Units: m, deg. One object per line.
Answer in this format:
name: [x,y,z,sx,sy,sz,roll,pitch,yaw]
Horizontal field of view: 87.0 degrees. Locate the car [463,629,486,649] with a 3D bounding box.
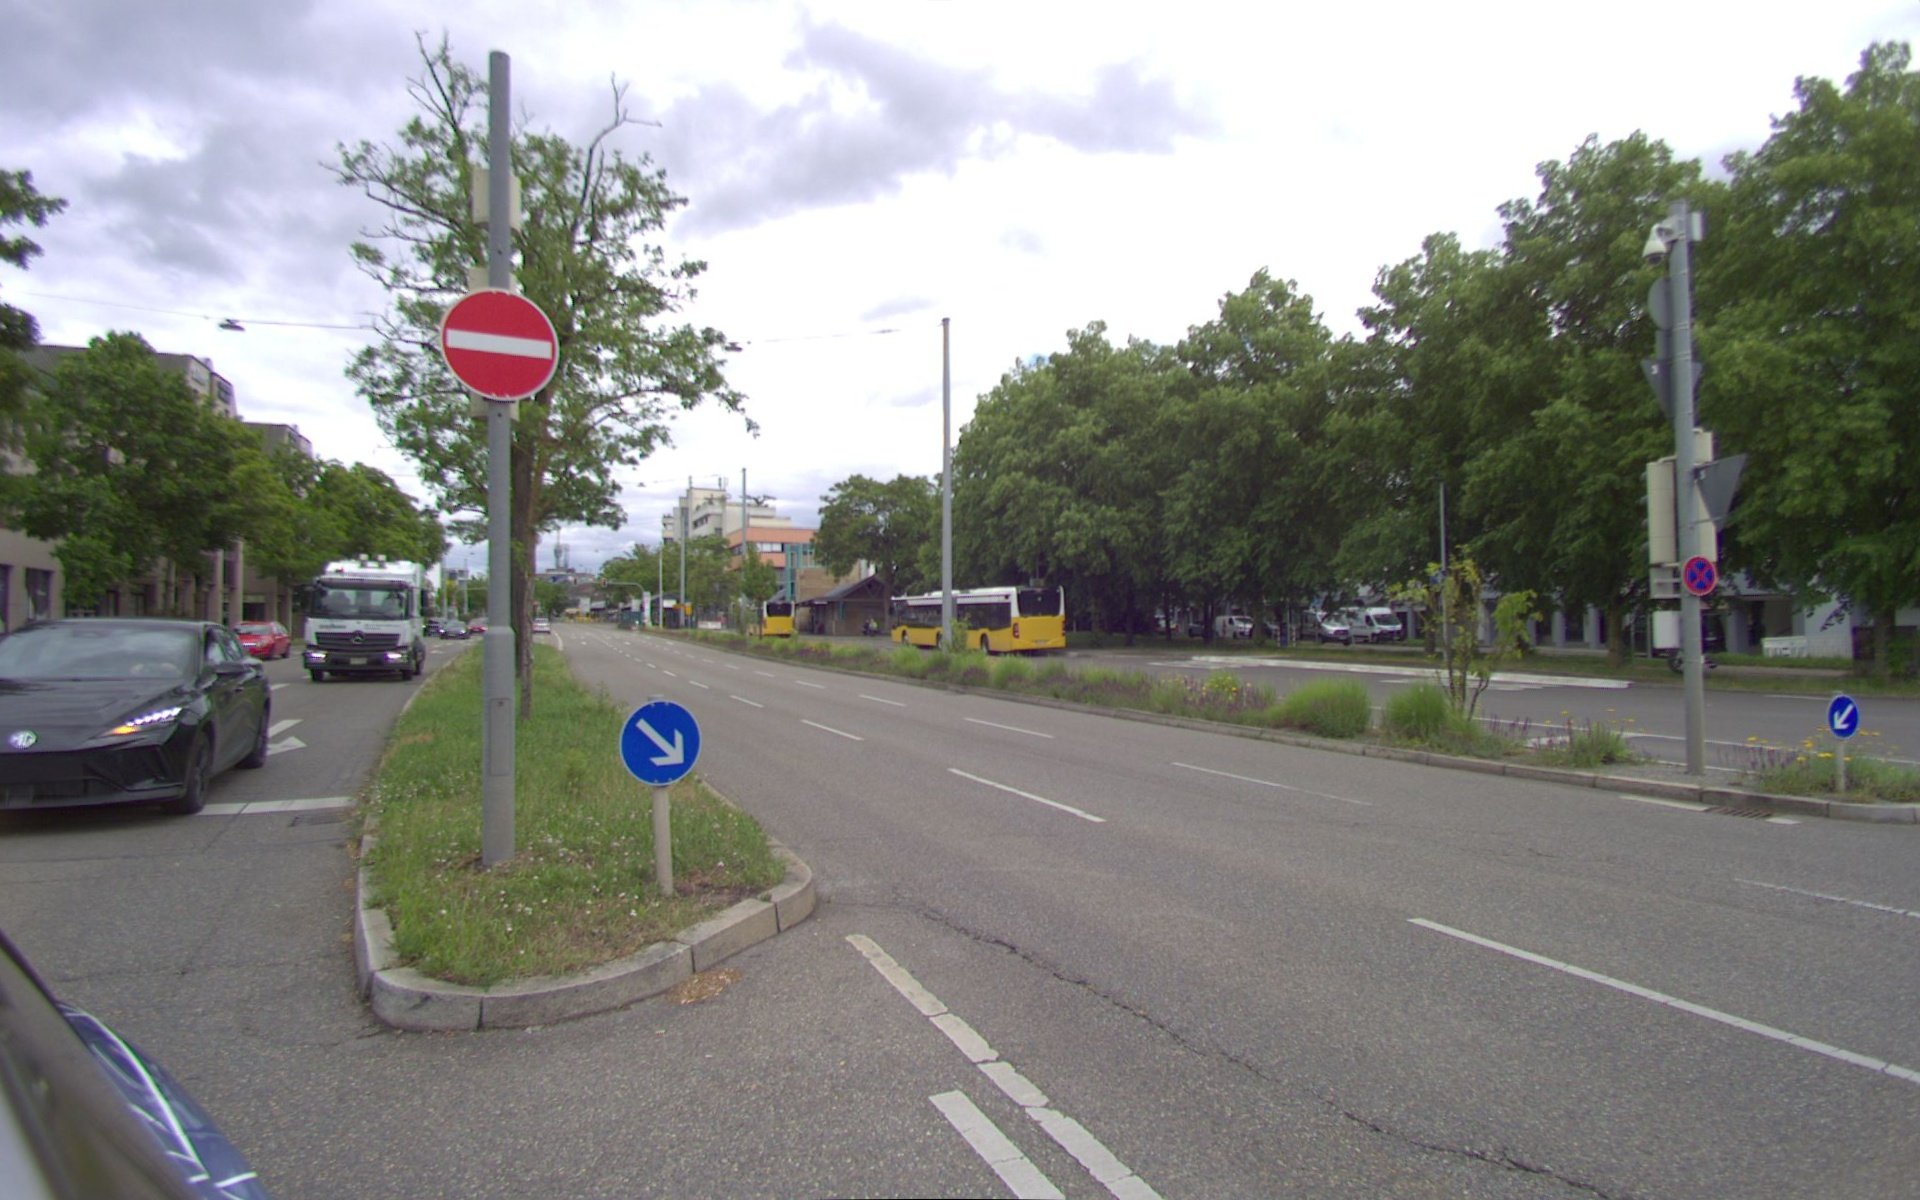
car: [-47.539,3.795,99.096,1.860,1.757,3.683,-1,0,-24]

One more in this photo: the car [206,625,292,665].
car: [-27.091,1.698,38.711,1.965,1.434,4.370,1,-2,-26]

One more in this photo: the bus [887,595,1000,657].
bus: [-1.142,1.327,55.367,3.001,3.032,9.728,-1,0,-21]

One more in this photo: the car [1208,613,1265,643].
car: [20.984,2.076,77.083,2.283,2.107,5.499,-1,0,-5]

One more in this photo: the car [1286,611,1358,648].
car: [23.068,1.841,64.736,2.186,2.133,5.314,-1,0,-6]

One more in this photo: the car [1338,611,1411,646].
car: [28.386,1.899,69.567,2.282,2.271,5.500,-1,0,-6]

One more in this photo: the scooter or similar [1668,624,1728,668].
scooter or similar: [24.916,1.537,34.185,1.588,1.457,0.549,-1,0,35]

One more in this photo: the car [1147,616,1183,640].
car: [17.971,2.410,88.848,1.970,1.954,4.595,-1,0,-3]

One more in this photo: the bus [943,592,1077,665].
bus: [2.089,1.235,46.868,3.001,3.032,8.457,-1,0,-21]

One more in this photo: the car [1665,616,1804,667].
car: [27.341,1.467,35.911,1.622,1.682,3.954,1,-2,-5]

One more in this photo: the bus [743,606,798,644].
bus: [-16.310,2.064,86.390,3.239,3.032,10.263,-1,0,-18]

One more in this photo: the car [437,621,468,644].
car: [-40.918,2.596,81.647,1.965,1.707,4.619,-1,0,-23]

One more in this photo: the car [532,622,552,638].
car: [-44.292,3.157,107.305,1.719,1.540,3.762,-1,0,-20]

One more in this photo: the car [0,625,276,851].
car: [-7.187,1.000,8.559,1.770,1.495,4.032,1,-3,-26]

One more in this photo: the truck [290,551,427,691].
truck: [-15.739,0.624,26.876,2.395,3.219,6.487,3,-3,-25]
